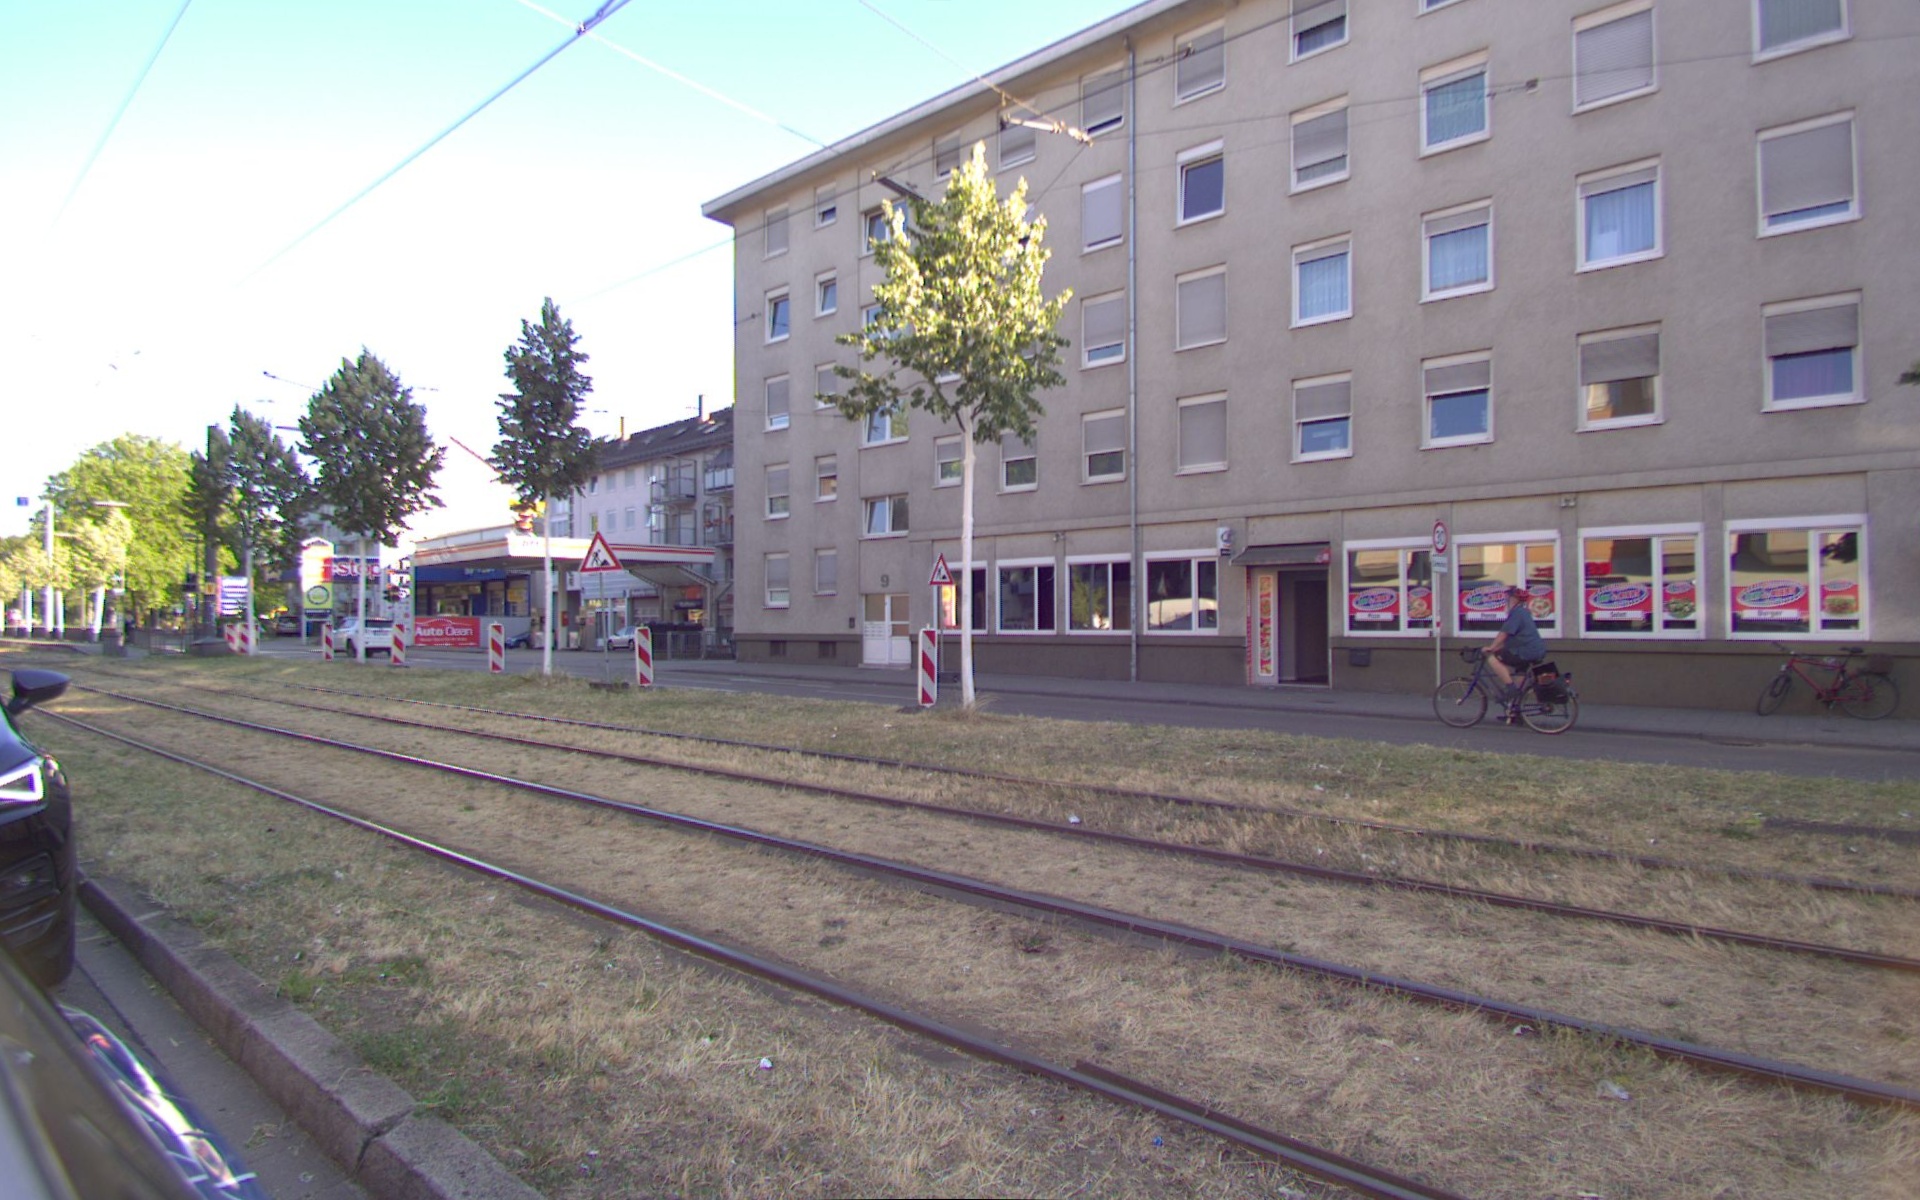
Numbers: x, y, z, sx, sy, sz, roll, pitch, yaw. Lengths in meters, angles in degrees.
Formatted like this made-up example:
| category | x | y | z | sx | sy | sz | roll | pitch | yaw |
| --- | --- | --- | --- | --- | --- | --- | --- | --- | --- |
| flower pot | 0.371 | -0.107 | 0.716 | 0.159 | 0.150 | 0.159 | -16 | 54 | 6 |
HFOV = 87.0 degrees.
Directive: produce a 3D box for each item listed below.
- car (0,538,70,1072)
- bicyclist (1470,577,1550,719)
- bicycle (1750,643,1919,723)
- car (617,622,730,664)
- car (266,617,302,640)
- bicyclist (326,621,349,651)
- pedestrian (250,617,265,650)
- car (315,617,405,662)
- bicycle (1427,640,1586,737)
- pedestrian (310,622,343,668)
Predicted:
| category | x | y | z | sx | sy | sz | roll | pitch | yaw |
| --- | --- | --- | --- | --- | --- | --- | --- | --- | --- |
| car | -5.004 | 0.687 | 3.989 | 3.998 | 1.690 | 1.752 | -1 | -1 | 41 |
| bicyclist | 7.658 | 0.660 | 14.103 | 0.809 | 1.897 | 0.644 | -2 | -3 | 44 |
| bicycle | 12.713 | 1.177 | 14.753 | 1.844 | 1.031 | 0.601 | -1 | 0 | 41 |
| car | -10.749 | 1.603 | 38.114 | 1.906 | 1.481 | 3.680 | -4 | -4 | 40 |
| car | -49.993 | 2.082 | 74.807 | 1.756 | 1.567 | 4.006 | -1 | 0 | -40 |
| bicyclist | -30.134 | 1.747 | 49.009 | 0.649 | 1.457 | 0.770 | -1 | -2 | 38 |
| pedestrian | -44.447 | 2.118 | 64.058 | 0.583 | 2.029 | 0.623 | -2 | -2 | 42 |
| car | -24.631 | 1.580 | 41.495 | 4.392 | 1.748 | 1.972 | -1 | -1 | 42 |
| bicycle | 7.605 | 1.199 | 14.142 | 1.870 | 1.267 | 0.450 | -3 | -2 | 43 |
| pedestrian | -18.300 | 1.289 | 29.222 | 0.581 | 1.280 | 0.655 | -2 | -1 | 42 |
